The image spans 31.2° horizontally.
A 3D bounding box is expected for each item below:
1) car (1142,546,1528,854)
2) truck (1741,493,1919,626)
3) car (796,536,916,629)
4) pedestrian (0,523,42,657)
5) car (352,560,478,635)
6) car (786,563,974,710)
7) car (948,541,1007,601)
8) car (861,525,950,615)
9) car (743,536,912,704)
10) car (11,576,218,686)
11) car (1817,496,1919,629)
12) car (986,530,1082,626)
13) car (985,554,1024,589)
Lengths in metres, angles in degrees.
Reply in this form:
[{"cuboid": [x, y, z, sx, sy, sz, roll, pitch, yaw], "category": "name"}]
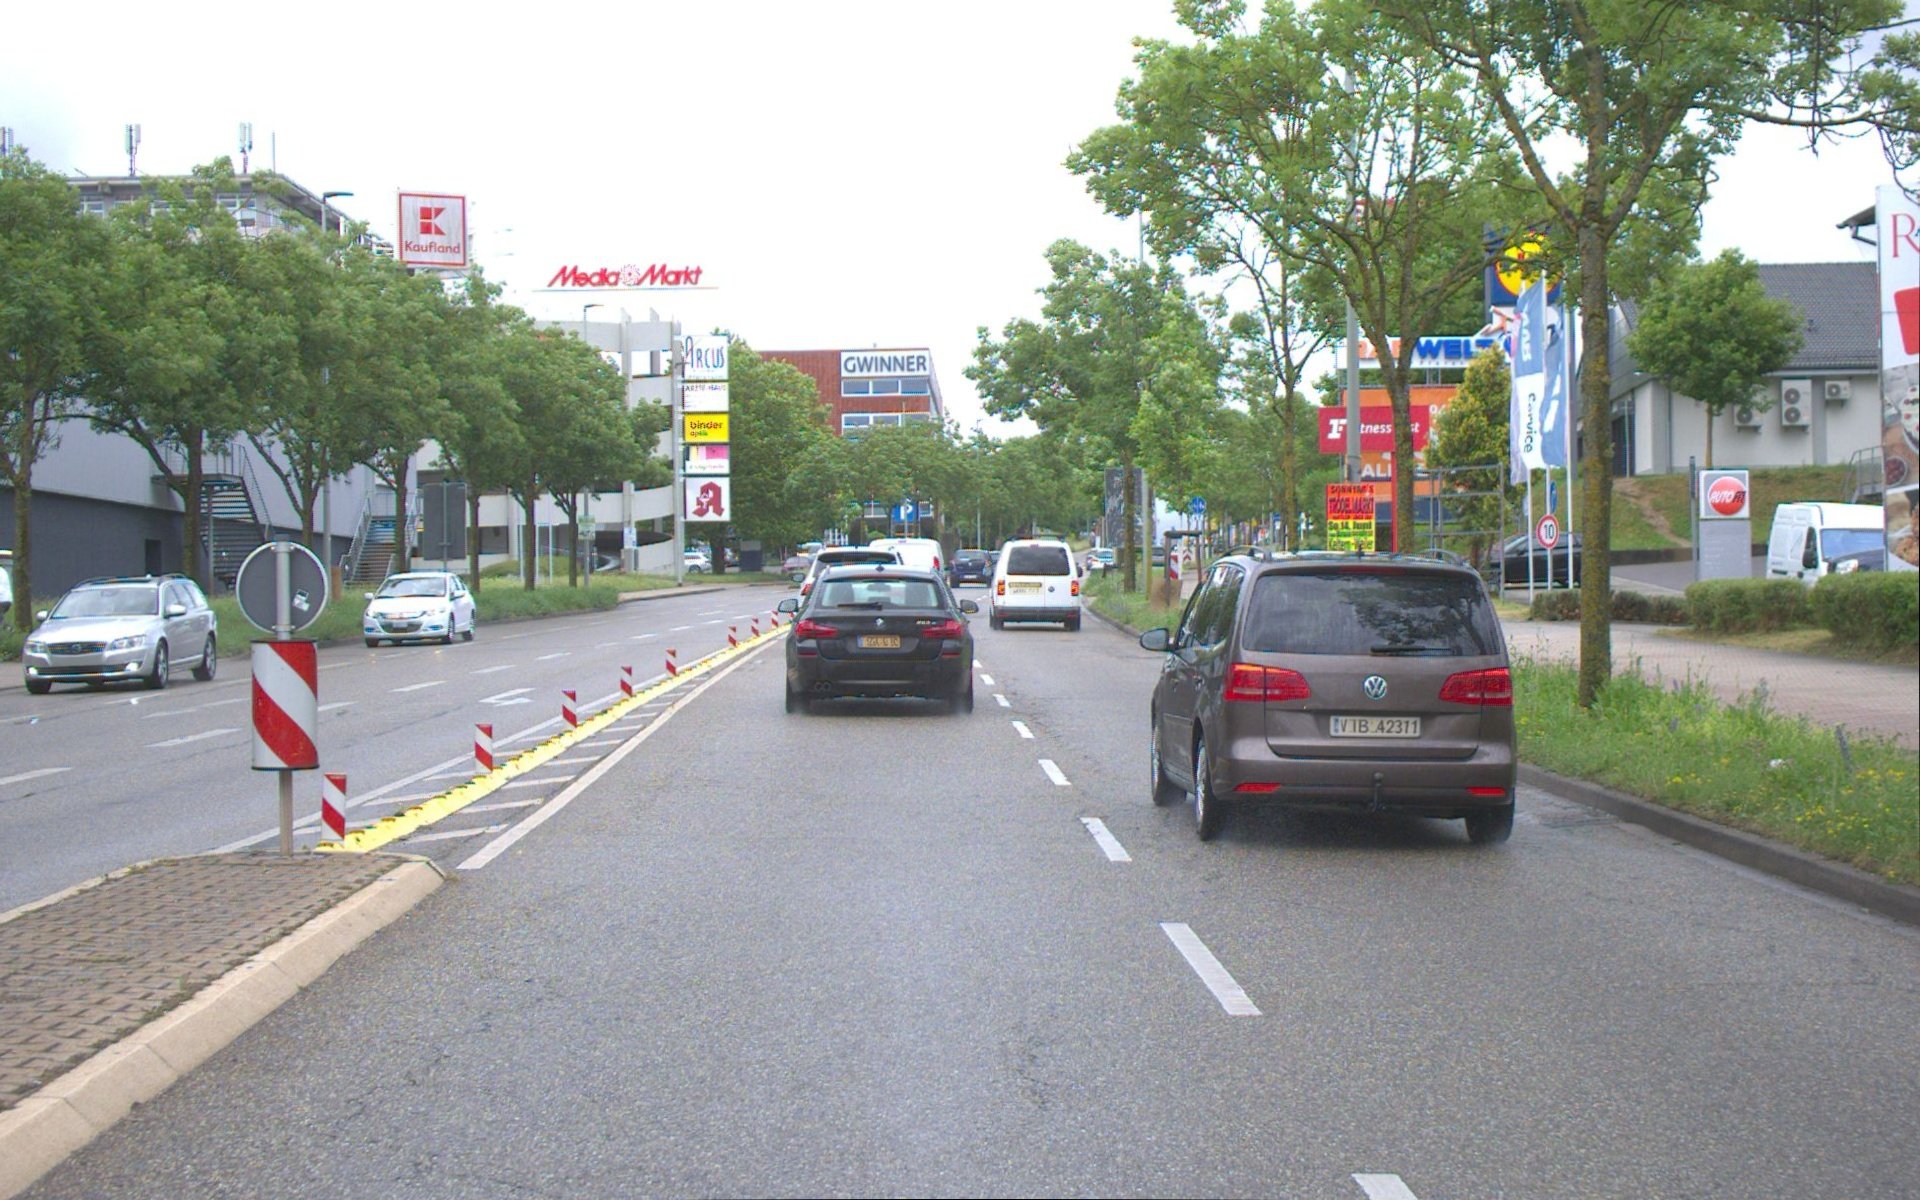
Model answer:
[{"cuboid": [2.088, 0.506, 20.297, 1.801, 1.581, 4.450, 1, 0, 0], "category": "car"}, {"cuboid": [16.619, -0.714, 64.731, 2.442, 2.340, 5.459, 1, -1, -1], "category": "truck"}, {"cuboid": [-1.576, -0.264, 53.308, 1.781, 1.393, 4.000, 0, 0, -1], "category": "car"}, {"cuboid": [-15.845, -0.169, 57.319, 0.858, 2.210, 0.846, -1, 1, -3], "category": "pedestrian"}, {"cuboid": [-10.814, -0.064, 68.433, 1.943, 1.443, 4.000, 0, 0, -1], "category": "car"}, {"cuboid": [-0.783, 0.342, 34.642, 1.781, 1.393, 4.000, 0, 0, -1], "category": "car"}, {"cuboid": [0.520, -0.840, 101.161, 1.685, 1.678, 3.402, 1, -1, 1], "category": "car"}, {"cuboid": [-1.258, -0.668, 80.620, 1.993, 2.007, 4.000, 1, -1, 0], "category": "car"}, {"cuboid": [-1.439, 0.205, 38.542, 1.781, 1.787, 4.000, 0, 0, -1], "category": "car"}, {"cuboid": [-11.592, 0.398, 47.388, 1.943, 1.448, 4.000, 0, 0, -1], "category": "car"}, {"cuboid": [13.398, -0.505, 44.784, 4.111, 1.698, 1.799, 0, 1, 6], "category": "car"}, {"cuboid": [1.466, -0.440, 69.463, 1.782, 1.860, 4.000, -1, 0, -1], "category": "car"}, {"cuboid": [1.999, -1.260, 154.876, 1.619, 1.490, 3.360, 1, -1, -1], "category": "car"}]
